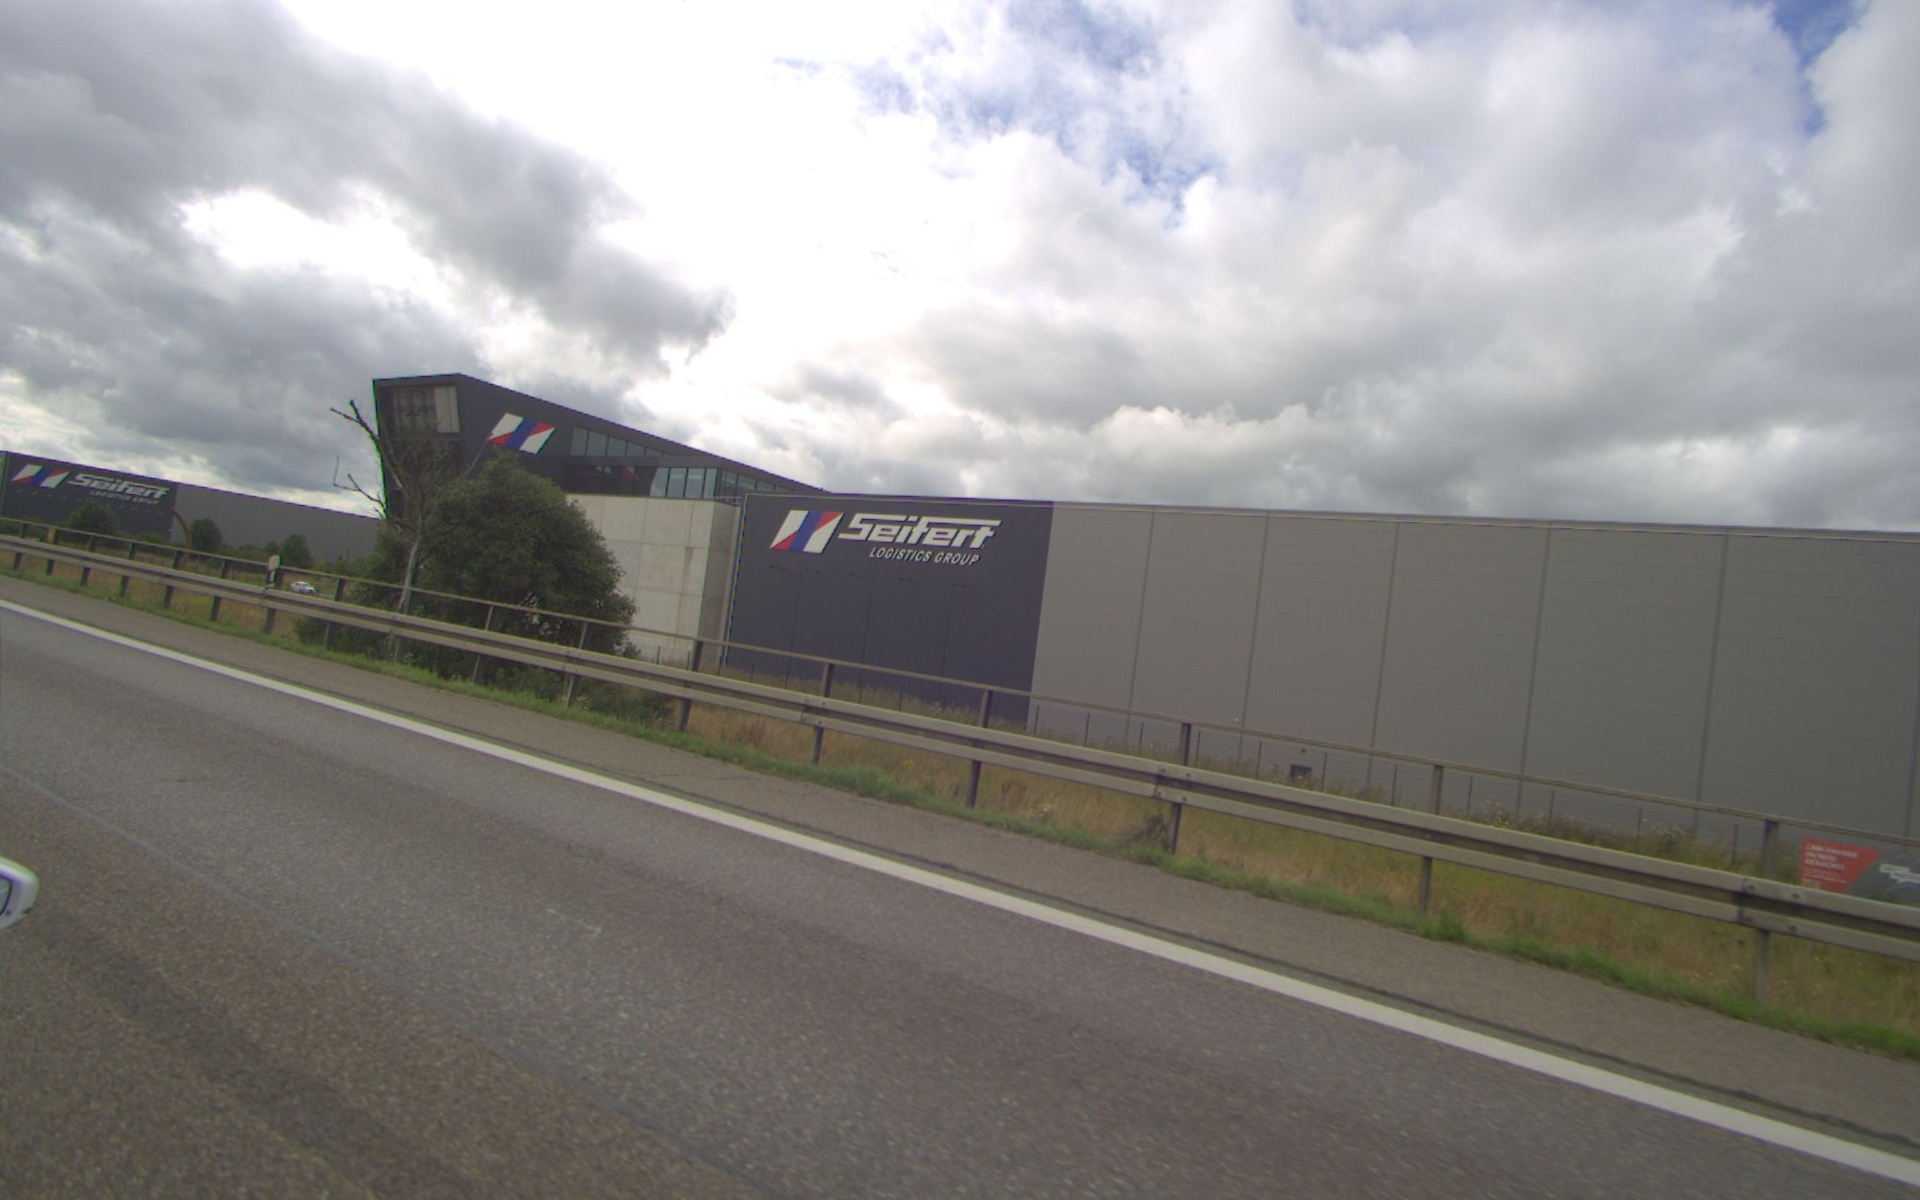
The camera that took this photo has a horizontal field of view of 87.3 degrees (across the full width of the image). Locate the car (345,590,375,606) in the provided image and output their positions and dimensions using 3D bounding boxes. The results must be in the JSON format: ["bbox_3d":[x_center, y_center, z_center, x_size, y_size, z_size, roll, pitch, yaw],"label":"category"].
[{"bbox_3d":[-82.304,-0.293,137.954,3.933,1.510,1.680,7,-3,31],"label":"car"}]
